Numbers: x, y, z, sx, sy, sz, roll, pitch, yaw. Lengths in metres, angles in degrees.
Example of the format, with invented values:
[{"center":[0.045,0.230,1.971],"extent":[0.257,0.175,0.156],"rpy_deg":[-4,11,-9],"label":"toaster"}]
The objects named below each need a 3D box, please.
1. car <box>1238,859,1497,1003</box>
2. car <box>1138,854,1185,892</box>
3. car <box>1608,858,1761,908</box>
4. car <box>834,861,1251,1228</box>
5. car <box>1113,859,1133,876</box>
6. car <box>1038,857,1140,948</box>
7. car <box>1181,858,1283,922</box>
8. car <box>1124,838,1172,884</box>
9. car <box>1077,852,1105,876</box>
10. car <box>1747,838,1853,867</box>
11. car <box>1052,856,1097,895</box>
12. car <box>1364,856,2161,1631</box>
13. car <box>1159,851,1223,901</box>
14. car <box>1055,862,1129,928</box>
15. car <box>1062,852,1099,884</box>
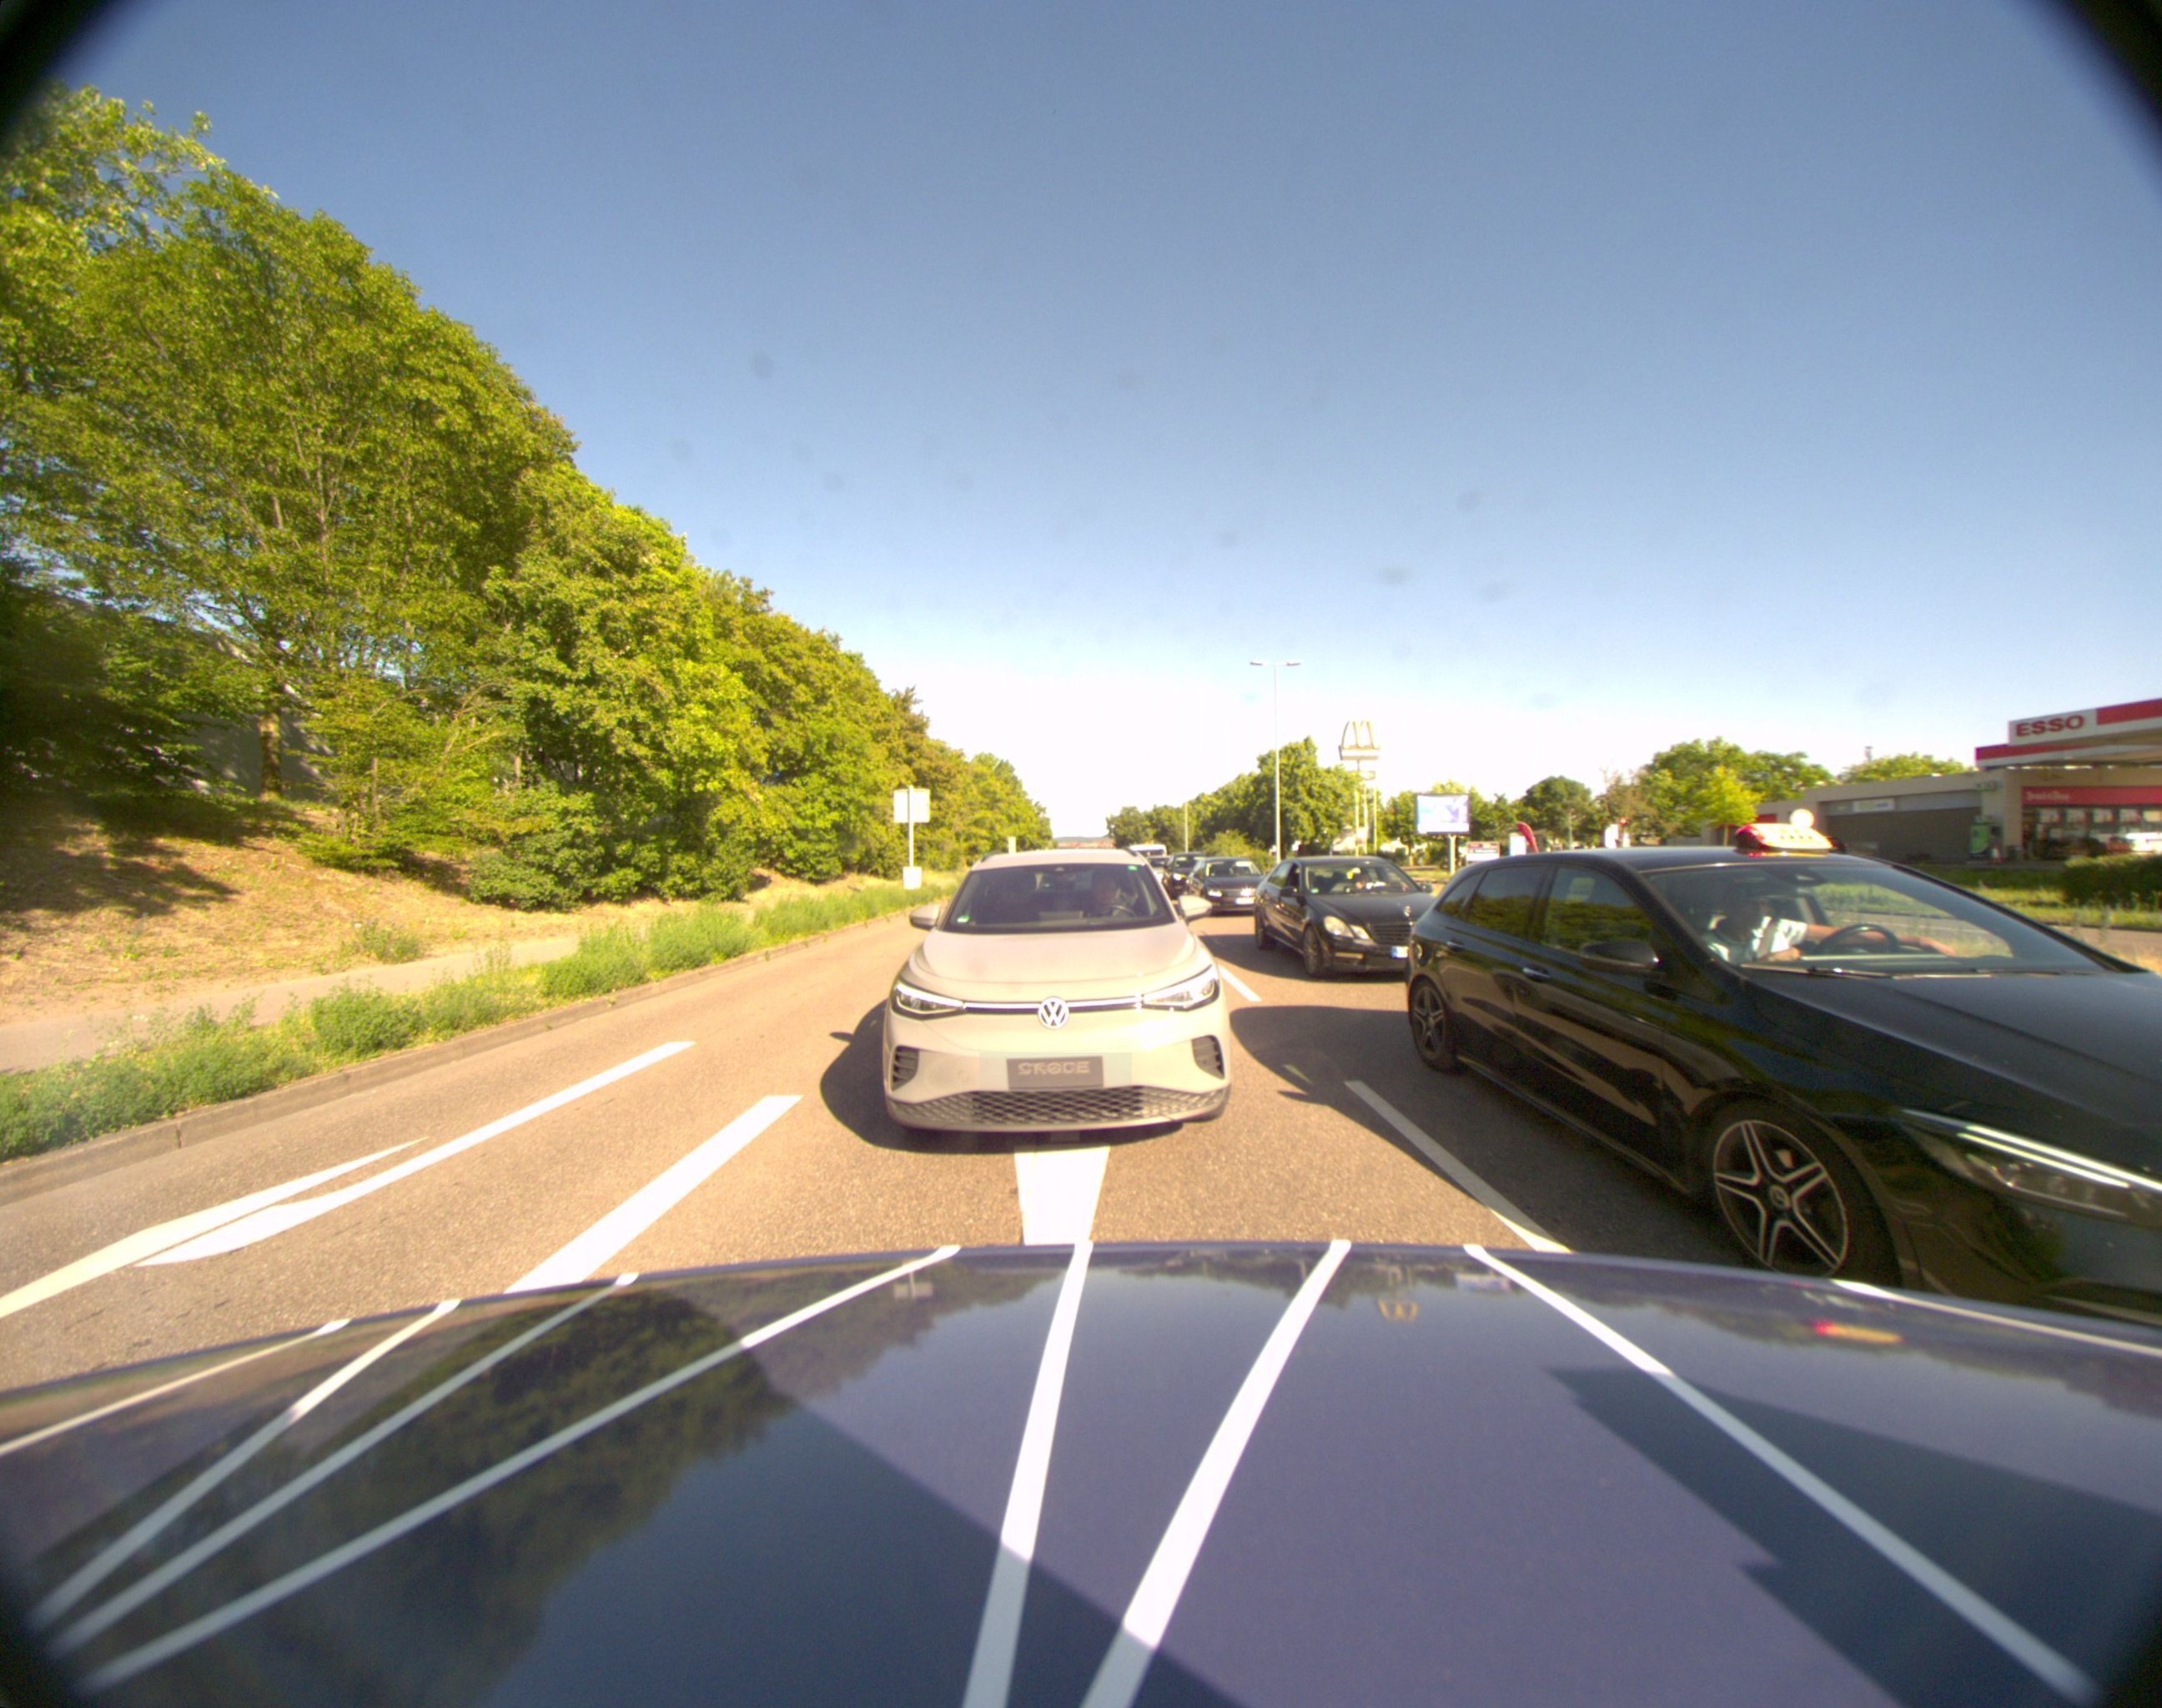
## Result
[{"center":[3.589,0.850,10.498],"extent":[1.868,1.430,4.402],"rpy_deg":[-2,1,0],"label":"car"},{"center":[3.573,0.791,34.163],"extent":[1.635,1.547,3.777],"rpy_deg":[-2,0,0],"label":"car"},{"center":[19.430,0.886,24.731],"extent":[1.763,1.401,3.978],"rpy_deg":[1,1,0],"label":"car"},{"center":[-0.182,0.898,5.700],"extent":[1.862,1.573,4.403],"rpy_deg":[-2,0,0],"label":"car"},{"center":[4.393,1.352,79.251],"extent":[1.763,1.607,4.402],"rpy_deg":[-2,1,0],"label":"car"},{"center":[0.135,0.871,15.757],"extent":[1.763,1.482,4.402],"rpy_deg":[-2,1,0],"label":"car"},{"center":[3.873,0.860,20.214],"extent":[1.797,1.419,4.287],"rpy_deg":[-2,0,0],"label":"car"},{"center":[3.731,0.379,43.417],"extent":[2.019,2.349,6.523],"rpy_deg":[-2,0,0],"label":"car"},{"center":[0.652,0.644,50.991],"extent":[1.763,1.482,4.402],"rpy_deg":[-2,1,0],"label":"car"},{"center":[37.415,-0.103,39.688],"extent":[1.682,1.401,3.978],"rpy_deg":[1,1,0],"label":"car"},{"center":[-0.257,0.881,33.032],"extent":[1.763,1.482,4.402],"rpy_deg":[-2,1,0],"label":"car"},{"center":[3.090,0.817,3.651],"extent":[1.763,1.482,4.402],"rpy_deg":[-2,1,0],"label":"car"},{"center":[3.904,0.741,27.416],"extent":[1.674,1.607,3.879],"rpy_deg":[-2,0,0],"label":"car"},{"center":[0.265,1.038,20.925],"extent":[1.763,1.482,4.402],"rpy_deg":[-2,1,0],"label":"car"},{"center":[-0.043,0.712,39.853],"extent":[1.763,1.482,4.402],"rpy_deg":[-2,1,0],"label":"car"}]
